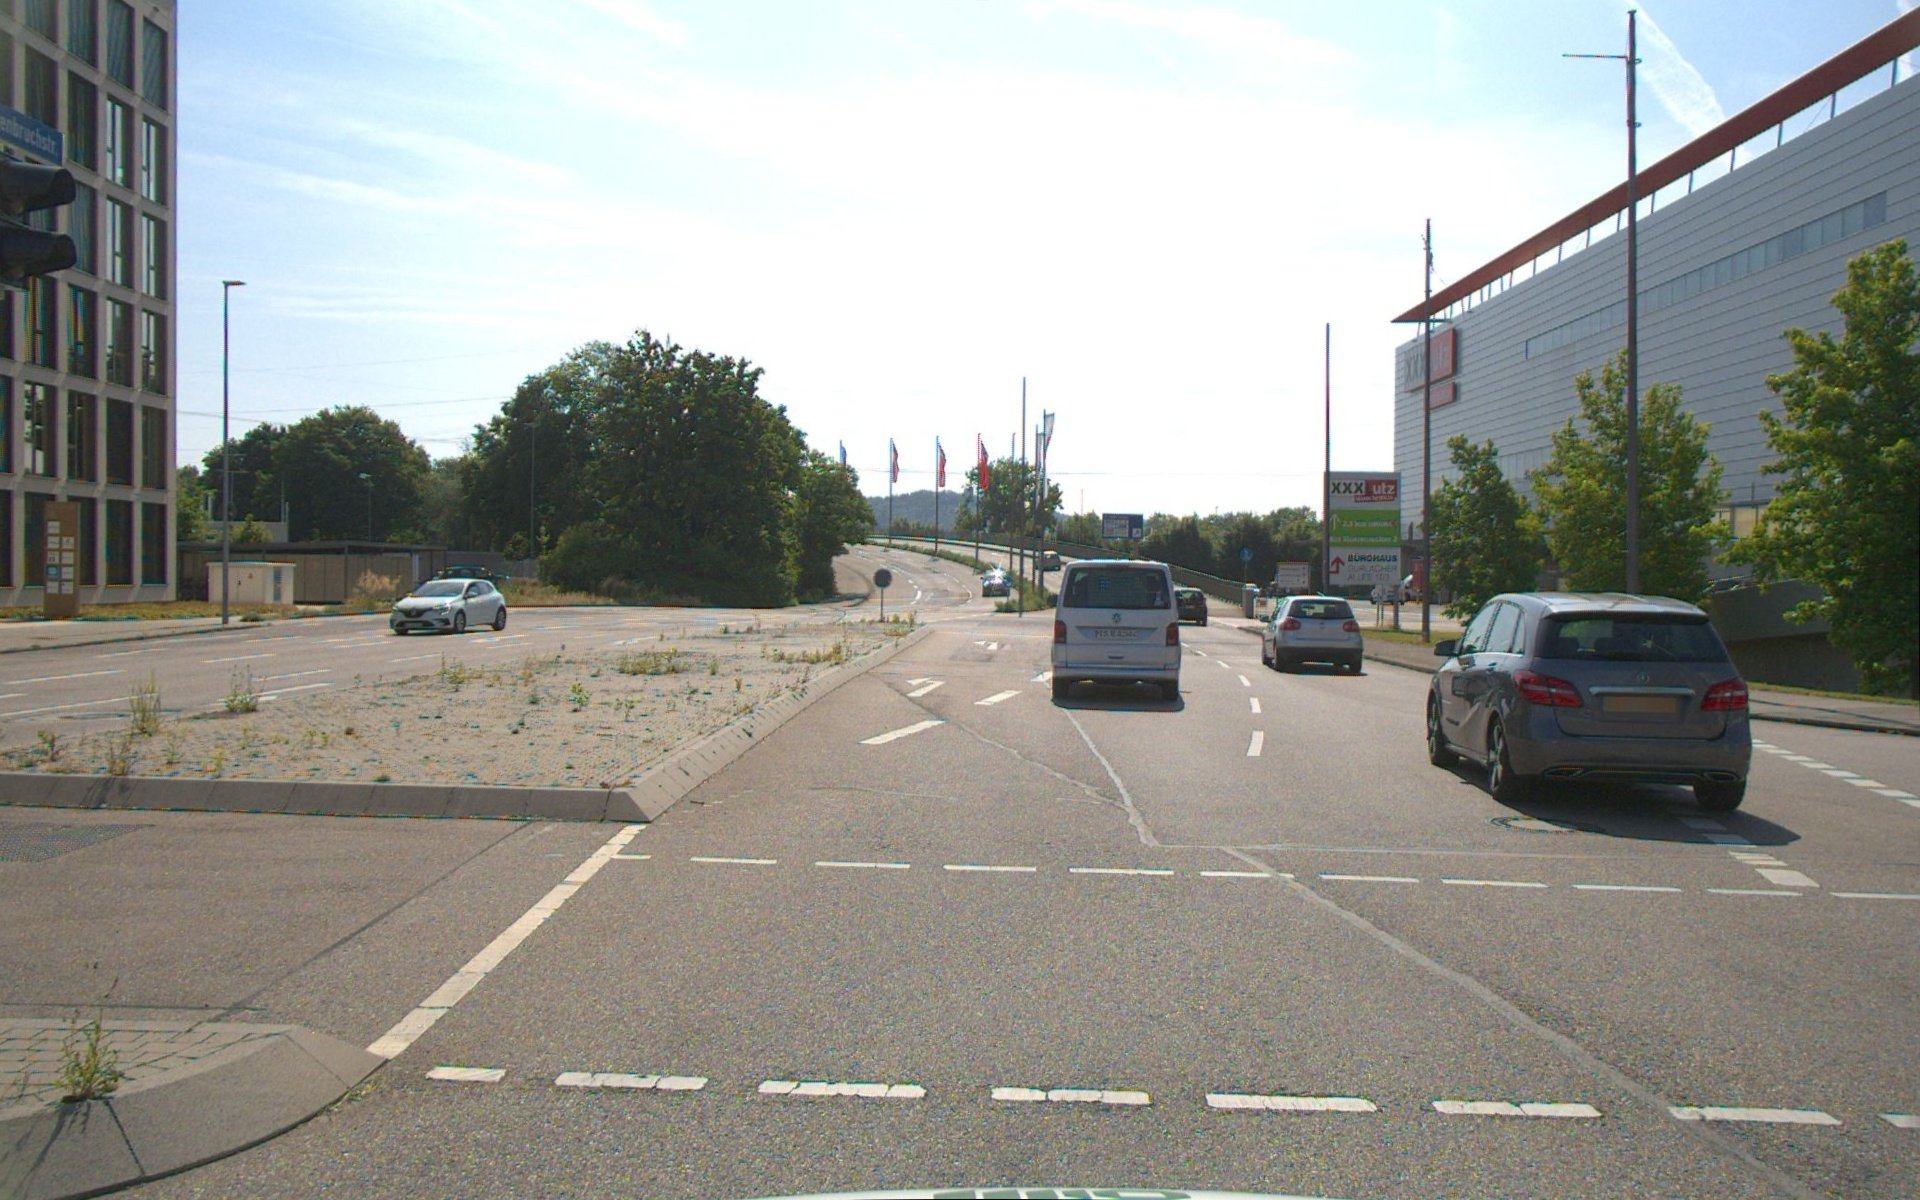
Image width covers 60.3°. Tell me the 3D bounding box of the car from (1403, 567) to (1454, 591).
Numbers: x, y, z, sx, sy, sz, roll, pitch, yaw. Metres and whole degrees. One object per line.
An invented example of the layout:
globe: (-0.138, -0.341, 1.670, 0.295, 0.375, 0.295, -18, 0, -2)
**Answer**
car: (41.717, -1.862, 147.315, 4.101, 1.962, 1.777, 1, 1, 2)

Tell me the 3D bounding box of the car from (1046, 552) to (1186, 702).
car: (2.293, 0.328, 24.717, 1.876, 2.009, 4.300, 1, 1, 4)

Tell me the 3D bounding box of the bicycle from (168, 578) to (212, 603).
bicycle: (-33.997, -0.422, 73.052, 1.668, 1.110, 0.588, 1, 1, 0)

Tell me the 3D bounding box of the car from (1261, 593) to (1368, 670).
car: (7.192, 0.601, 33.846, 1.632, 1.439, 3.684, 1, 0, 4)

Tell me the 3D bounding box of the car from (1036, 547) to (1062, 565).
car: (7.662, -3.816, 142.899, 1.502, 1.505, 3.419, 2, 1, -9)

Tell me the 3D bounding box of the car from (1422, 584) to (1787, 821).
car: (5.021, 0.684, 13.491, 1.736, 1.566, 4.141, 2, 1, 6)

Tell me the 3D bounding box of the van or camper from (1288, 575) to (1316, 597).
van or camper: (38.155, -1.581, 184.326, 2.056, 2.216, 5.437, 3, 0, 21)

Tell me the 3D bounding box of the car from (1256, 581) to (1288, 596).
car: (32.765, -1.245, 173.634, 1.957, 1.445, 3.991, 3, 0, -10)

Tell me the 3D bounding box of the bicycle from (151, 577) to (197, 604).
bicycle: (-34.006, -0.409, 71.553, 1.668, 1.110, 0.588, 1, 1, 0)

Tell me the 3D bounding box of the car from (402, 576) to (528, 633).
car: (-13.742, 0.134, 46.159, 1.744, 1.486, 4.337, 0, 0, 7)

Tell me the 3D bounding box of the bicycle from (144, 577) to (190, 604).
bicycle: (-34.006, -0.395, 70.910, 1.668, 1.110, 0.588, 1, 1, 0)

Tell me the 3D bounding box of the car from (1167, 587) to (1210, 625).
car: (9.580, 0.214, 69.604, 1.499, 1.505, 3.598, 2, 1, 4)

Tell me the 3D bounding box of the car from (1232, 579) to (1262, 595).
car: (30.107, -1.408, 173.526, 1.849, 1.545, 3.991, 3, 0, -10)

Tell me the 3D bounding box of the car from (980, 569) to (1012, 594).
car: (2.439, -1.269, 112.280, 1.875, 1.634, 4.275, 1, 1, 5)

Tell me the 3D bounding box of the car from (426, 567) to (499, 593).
car: (-29.106, -1.168, 96.756, 4.040, 1.445, 1.718, 1, -1, -21)

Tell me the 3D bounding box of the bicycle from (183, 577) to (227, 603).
bicycle: (-34.061, -0.449, 74.639, 1.668, 1.110, 0.588, 1, 1, 0)

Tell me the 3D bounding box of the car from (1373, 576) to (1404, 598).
car: (35.551, -1.091, 137.221, 1.638, 1.782, 4.095, 1, 2, 3)

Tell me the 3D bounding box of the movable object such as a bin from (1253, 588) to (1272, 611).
movable object such as a bin: (15.153, -0.044, 82.861, 0.793, 1.132, 1.182, 1, 1, 3)
